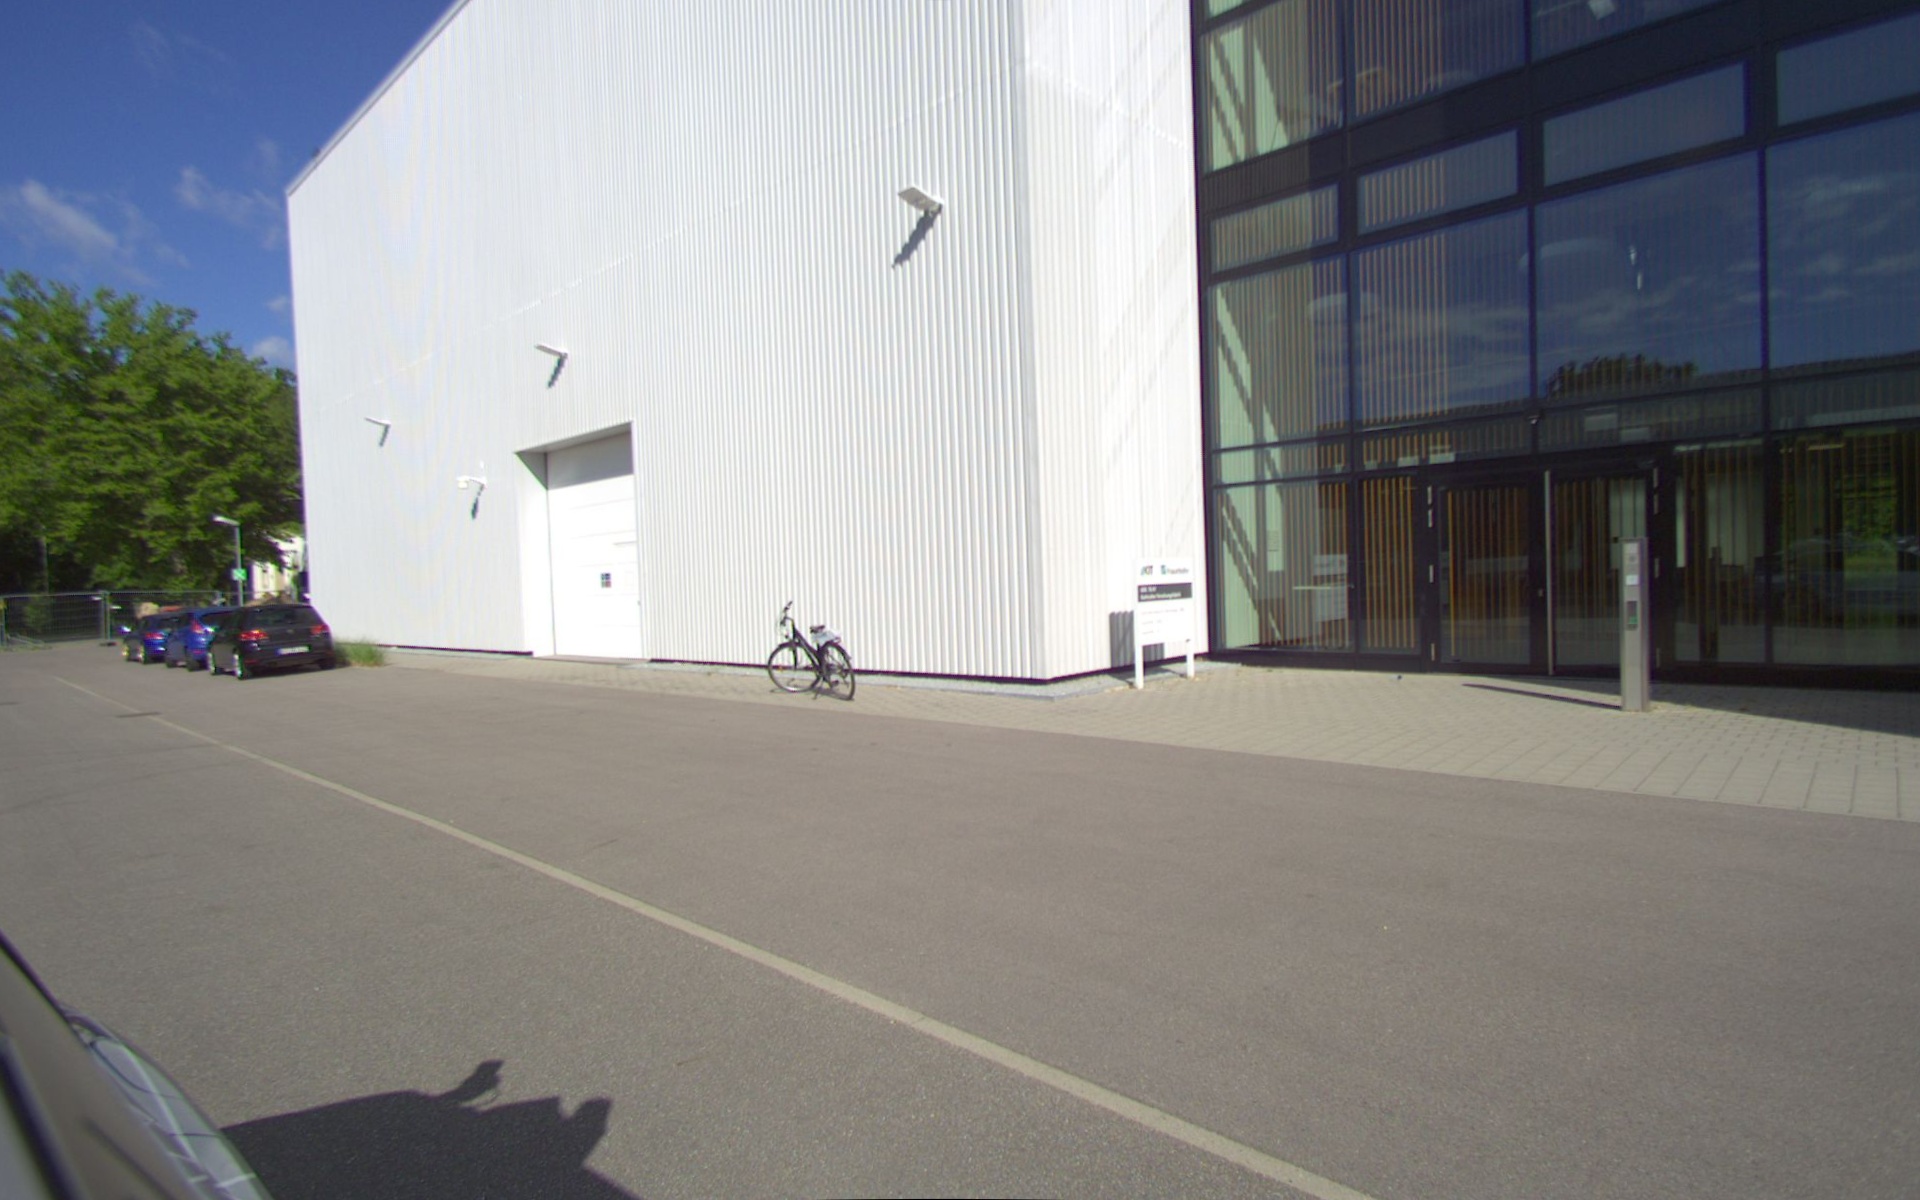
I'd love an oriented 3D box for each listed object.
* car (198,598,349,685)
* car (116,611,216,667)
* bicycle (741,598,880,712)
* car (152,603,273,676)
[{"bbox_3d":[-14.758,0.823,21.670,1.869,1.533,4.002,-7,4,-45],"label":"car"},{"bbox_3d":[-22.712,1.068,28.902,1.765,1.451,4.002,-2,0,-45],"label":"car"},{"bbox_3d":[-1.836,0.606,12.191,0.895,1.151,1.905,-6,4,-31],"label":"bicycle"},{"bbox_3d":[-18.652,0.936,25.191,1.766,1.533,4.002,-7,4,-45],"label":"car"}]
